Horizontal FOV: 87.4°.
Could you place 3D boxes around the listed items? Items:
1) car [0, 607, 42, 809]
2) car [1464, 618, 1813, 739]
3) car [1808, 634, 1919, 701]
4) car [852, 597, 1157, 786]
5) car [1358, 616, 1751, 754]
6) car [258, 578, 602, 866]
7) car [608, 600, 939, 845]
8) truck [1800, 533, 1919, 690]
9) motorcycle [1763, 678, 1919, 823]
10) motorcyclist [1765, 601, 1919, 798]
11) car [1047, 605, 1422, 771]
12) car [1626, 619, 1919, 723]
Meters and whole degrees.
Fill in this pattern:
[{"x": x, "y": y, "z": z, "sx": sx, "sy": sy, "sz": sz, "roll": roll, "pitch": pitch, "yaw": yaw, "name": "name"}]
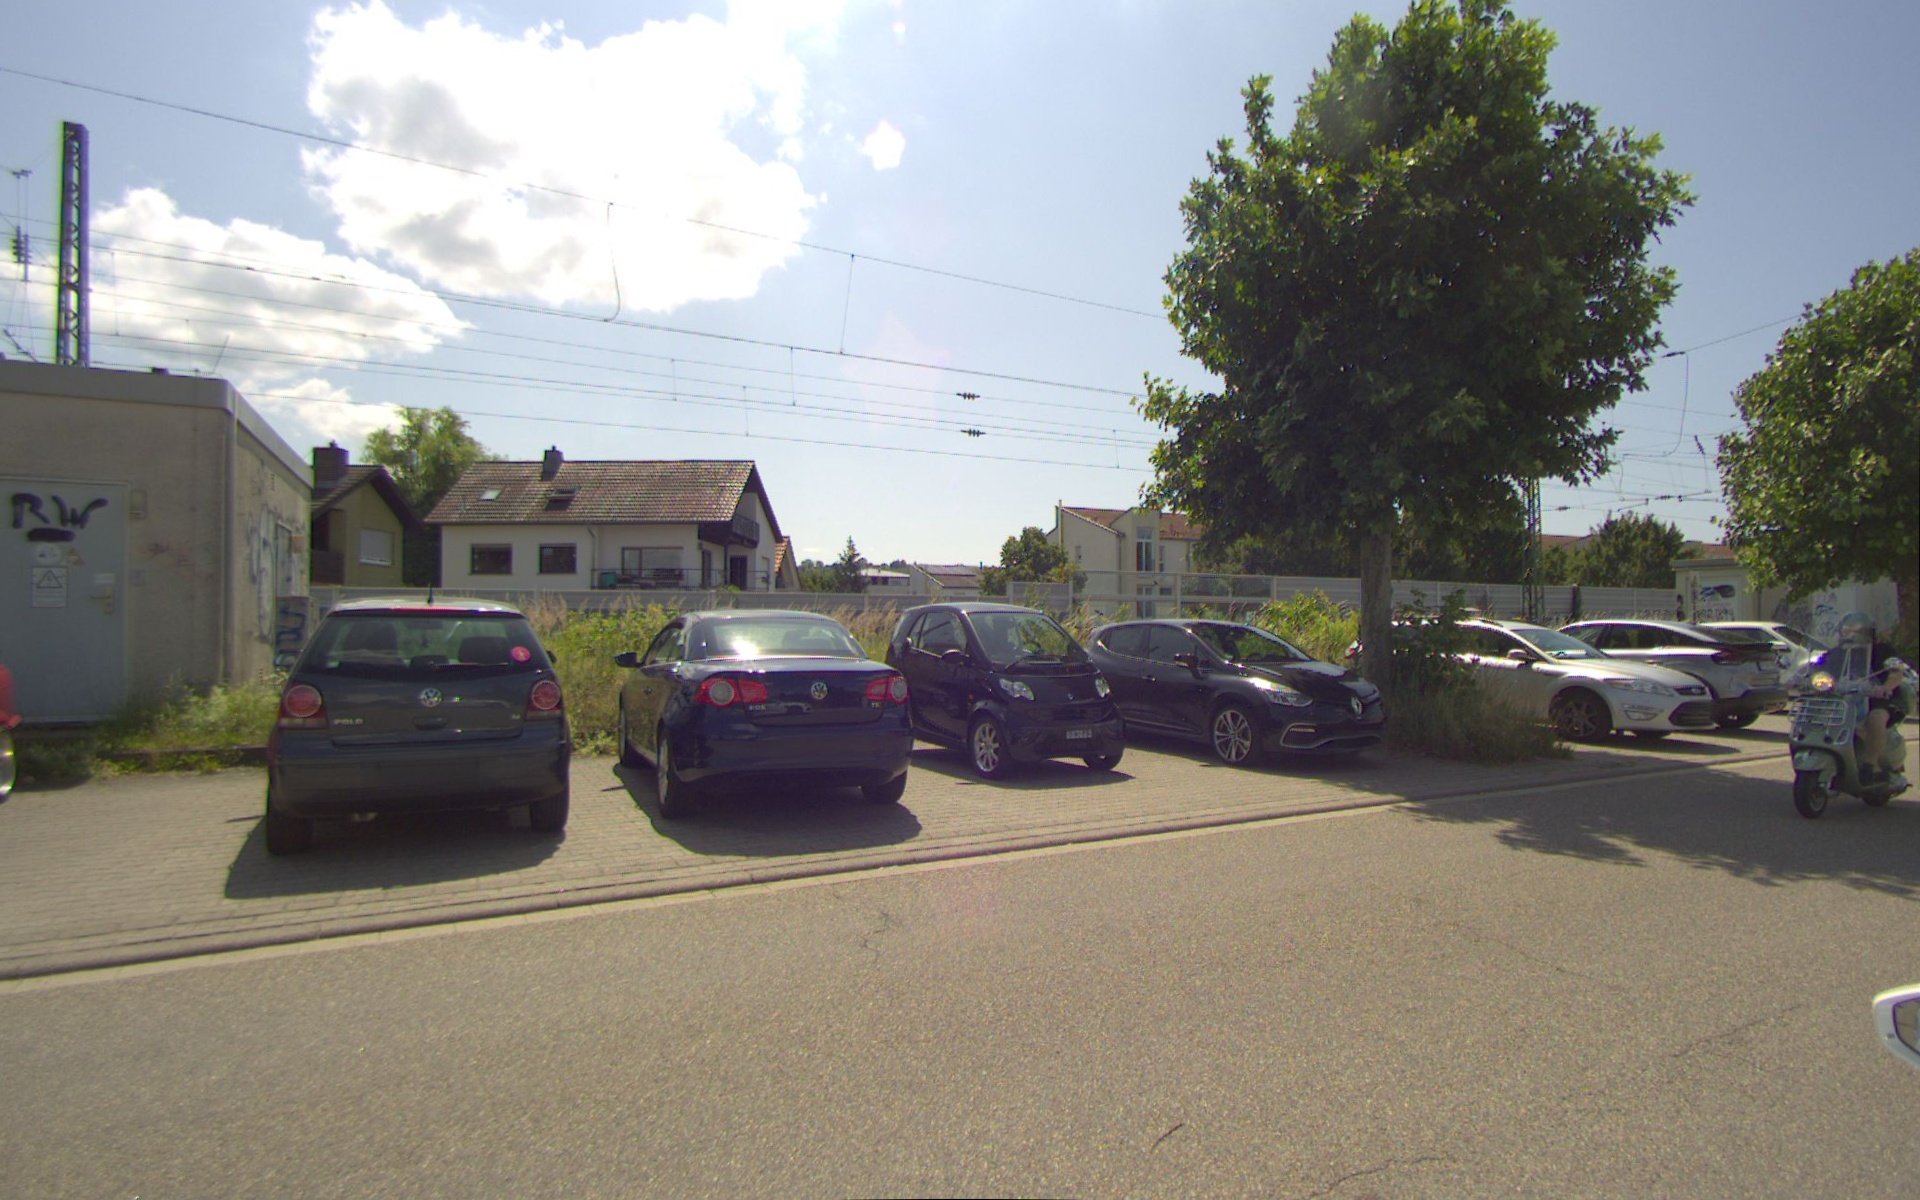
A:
[{"x": -6.768, "y": 0.732, "z": 5.473, "sx": 1.653, "sy": 1.387, "sz": 4.056, "roll": 0, "pitch": 0, "yaw": -28, "name": "car"}, {"x": 10.117, "y": 1.076, "z": 15.275, "sx": 1.977, "sy": 1.568, "sz": 3.967, "roll": 2, "pitch": -1, "yaw": -31, "name": "car"}, {"x": 21.651, "y": 1.501, "z": 22.147, "sx": 1.850, "sy": 1.413, "sz": 4.188, "roll": 1, "pitch": -1, "yaw": -31, "name": "car"}, {"x": 0.308, "y": 0.821, "z": 10.113, "sx": 1.584, "sy": 1.558, "sz": 3.172, "roll": 2, "pitch": -2, "yaw": -31, "name": "car"}, {"x": 7.903, "y": 1.006, "z": 13.823, "sx": 1.903, "sy": 1.553, "sz": 4.318, "roll": 1, "pitch": -1, "yaw": -29, "name": "car"}, {"x": -3.777, "y": 0.626, "z": 7.123, "sx": 1.664, "sy": 1.467, "sz": 3.647, "roll": 1, "pitch": 0, "yaw": -31, "name": "car"}, {"x": -1.751, "y": 0.801, "z": 8.212, "sx": 1.762, "sy": 1.469, "sz": 3.934, "roll": 1, "pitch": -2, "yaw": -25, "name": "car"}, {"x": 25.195, "y": 0.307, "z": 24.642, "sx": 2.633, "sy": 3.873, "sz": 6.581, "roll": 1, "pitch": -1, "yaw": -31, "name": "truck"}, {"x": 7.452, "y": 1.208, "z": 8.402, "sx": 1.932, "sy": 1.064, "sz": 0.461, "roll": 2, "pitch": -1, "yaw": -30, "name": "motorcycle"}, {"x": 7.397, "y": 0.788, "z": 8.386, "sx": 0.910, "sy": 1.529, "sz": 0.772, "roll": 1, "pitch": -1, "yaw": -28, "name": "motorcyclist"}, {"x": 2.829, "y": 0.873, "z": 11.278, "sx": 1.765, "sy": 1.492, "sz": 4.056, "roll": 1, "pitch": -2, "yaw": -28, "name": "car"}, {"x": 14.523, "y": 1.177, "z": 17.992, "sx": 1.831, "sy": 1.639, "sz": 3.948, "roll": 1, "pitch": -2, "yaw": -32, "name": "car"}]
